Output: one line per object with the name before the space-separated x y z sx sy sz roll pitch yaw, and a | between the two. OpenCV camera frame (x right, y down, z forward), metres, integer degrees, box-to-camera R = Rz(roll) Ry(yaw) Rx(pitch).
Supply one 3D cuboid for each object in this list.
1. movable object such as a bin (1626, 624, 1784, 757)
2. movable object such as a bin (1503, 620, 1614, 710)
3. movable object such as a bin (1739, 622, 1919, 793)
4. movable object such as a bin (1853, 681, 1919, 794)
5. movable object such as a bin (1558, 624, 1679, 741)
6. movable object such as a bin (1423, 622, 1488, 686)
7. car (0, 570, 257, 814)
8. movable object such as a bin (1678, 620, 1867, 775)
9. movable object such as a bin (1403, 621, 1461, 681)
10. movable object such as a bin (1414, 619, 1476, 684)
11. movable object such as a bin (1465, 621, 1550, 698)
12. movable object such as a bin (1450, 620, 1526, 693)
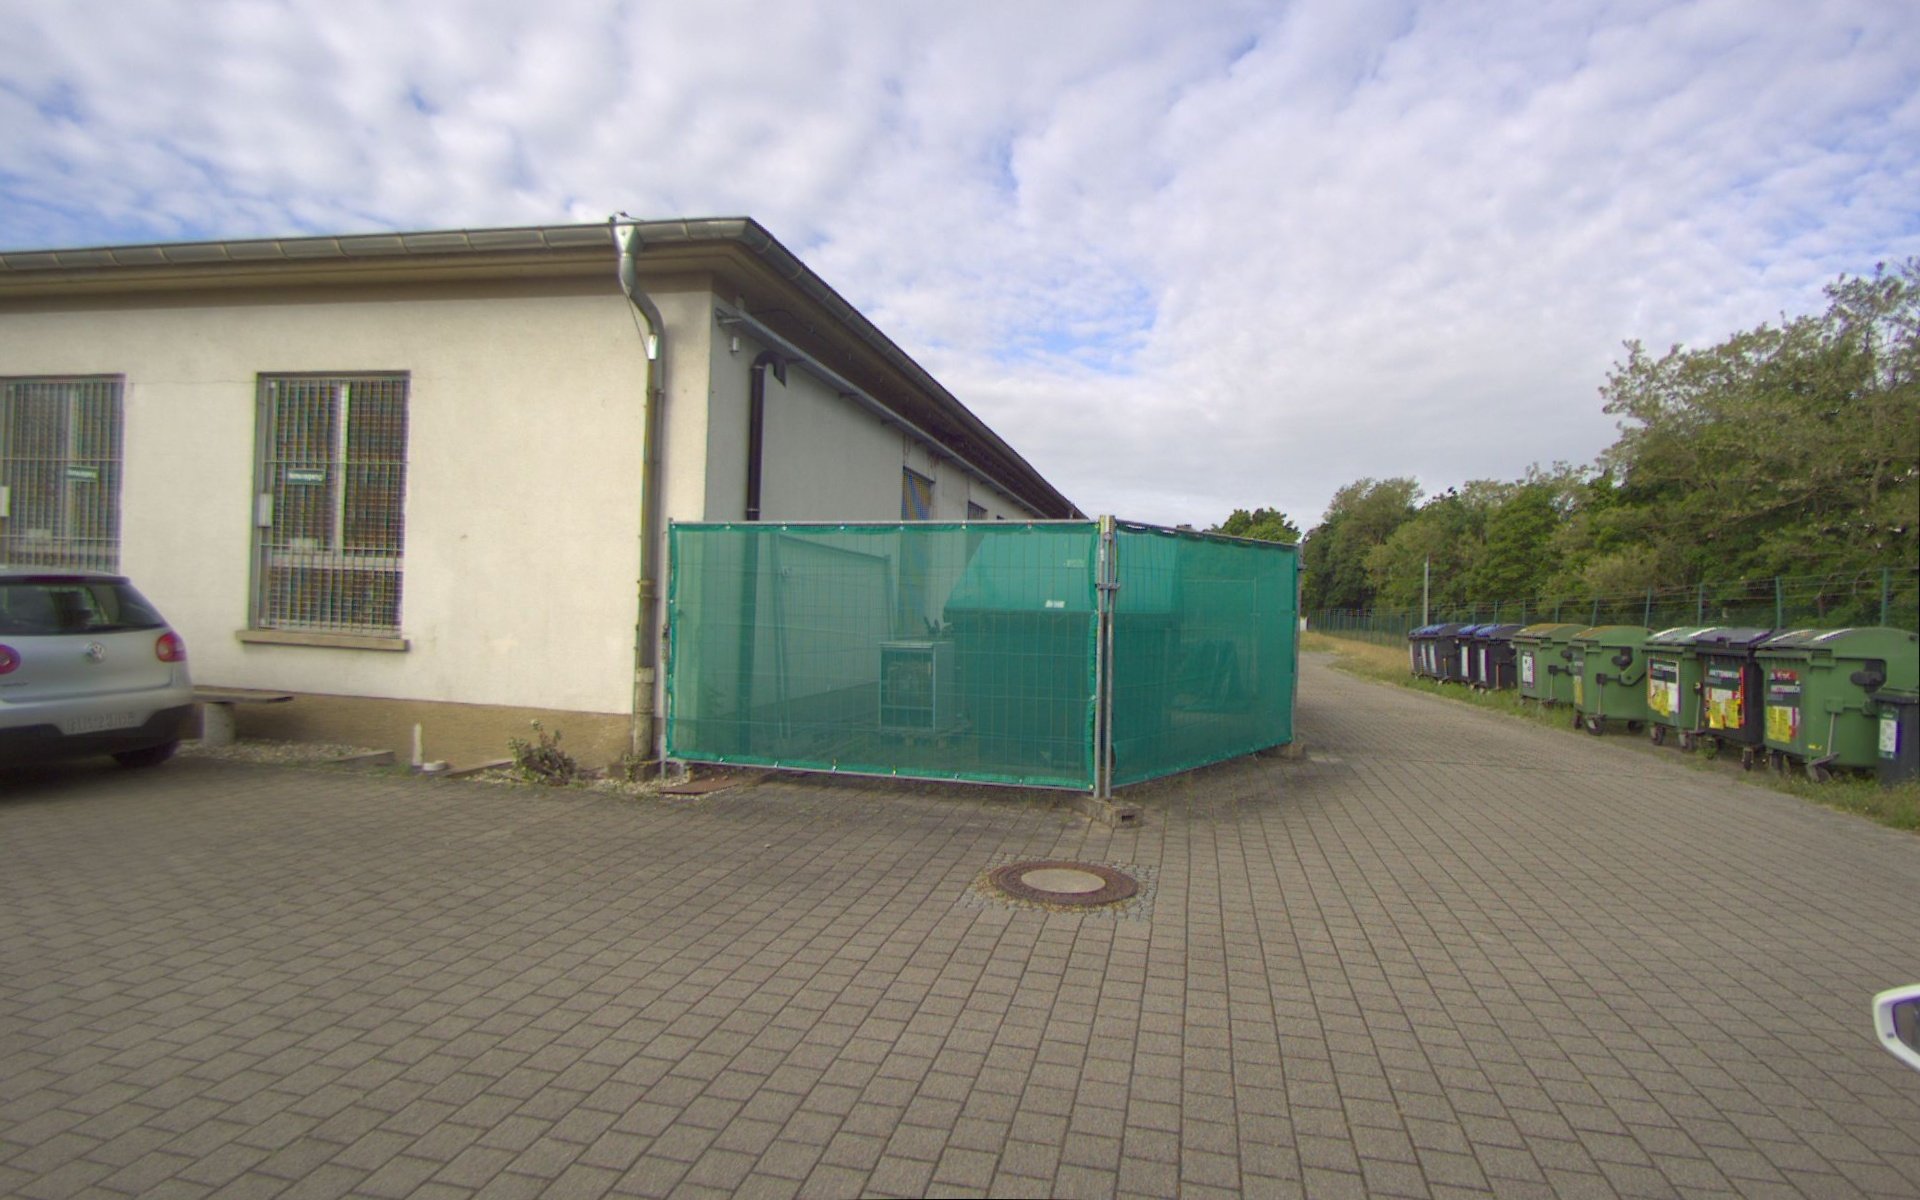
movable object such as a bin | 8.773 1.025 11.915 1.051 1.424 1.386 2 -1 16
movable object such as a bin | 9.512 1.015 16.042 1.103 1.313 1.380 2 -1 13
movable object such as a bin | 8.152 0.948 9.297 1.110 1.414 1.356 2 -1 22
movable object such as a bin | 7.938 1.139 8.344 0.590 0.877 0.585 2 -1 22
movable object such as a bin | 8.824 1.074 13.537 1.105 1.416 1.384 2 -1 24
movable object such as a bin | 10.909 1.164 22.179 1.104 1.339 1.325 2 -1 19
car | -7.630 0.491 7.150 4.279 1.458 1.932 2 -1 14
movable object such as a bin | 8.507 0.974 10.608 1.051 1.453 1.399 2 -1 16
movable object such as a bin | 11.625 1.239 24.799 1.104 1.368 1.426 2 -1 19
movable object such as a bin | 11.287 1.188 23.428 1.104 1.397 1.325 2 -1 19
movable object such as a bin | 10.384 1.114 19.130 1.135 1.342 1.494 2 -1 19
movable object such as a bin | 10.825 1.141 20.650 1.104 1.392 1.494 2 -1 19
